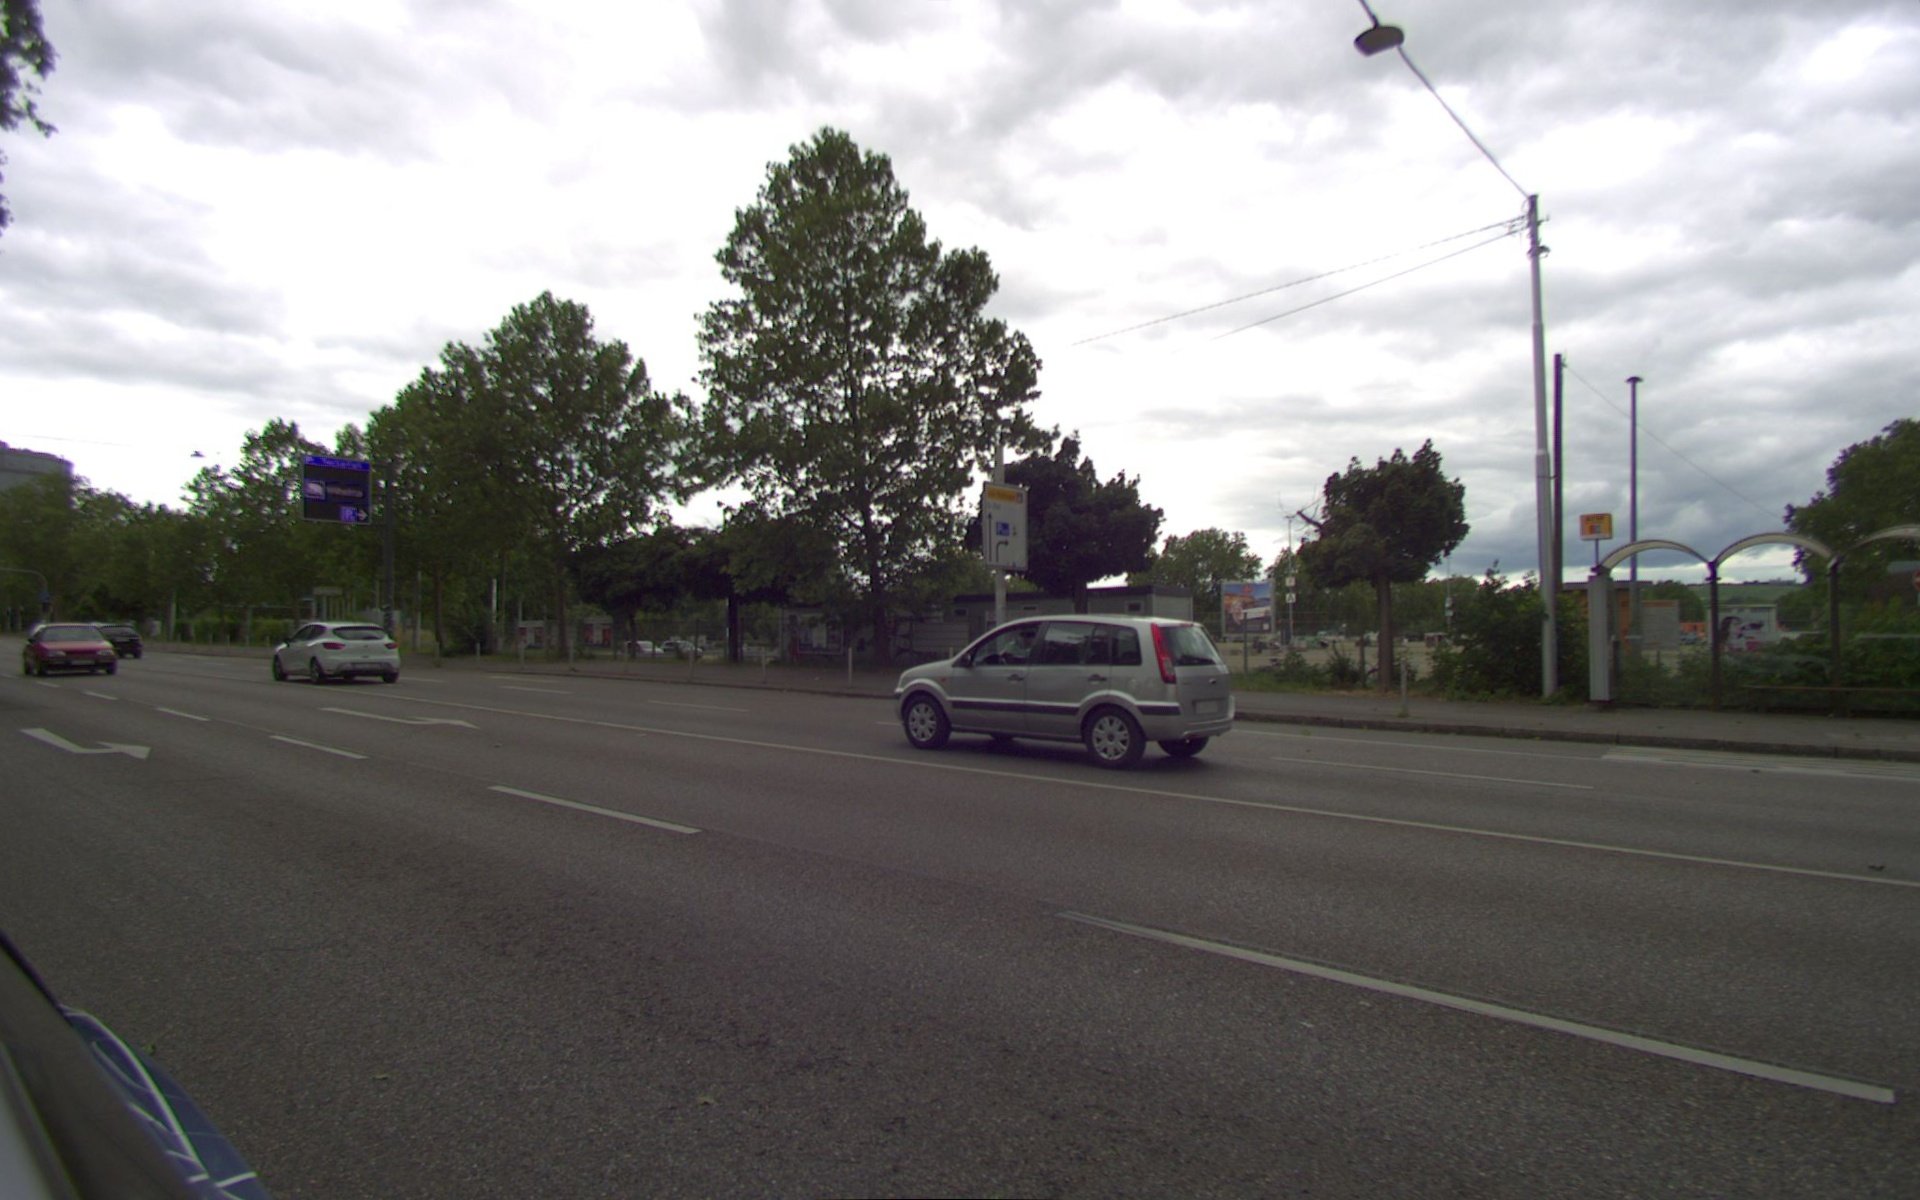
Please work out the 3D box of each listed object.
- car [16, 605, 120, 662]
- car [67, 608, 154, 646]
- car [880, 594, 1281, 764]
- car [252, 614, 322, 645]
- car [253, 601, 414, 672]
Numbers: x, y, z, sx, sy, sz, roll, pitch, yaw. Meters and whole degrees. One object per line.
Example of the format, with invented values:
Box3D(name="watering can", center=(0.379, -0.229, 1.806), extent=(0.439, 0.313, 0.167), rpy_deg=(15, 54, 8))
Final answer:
Box3D(name="car", center=(-24.753, 0.900, 28.033), extent=(4.077, 1.463, 1.808), rpy_deg=(-1, -1, 43))
Box3D(name="car", center=(-36.588, 1.180, 43.544), extent=(4.721, 1.542, 1.974), rpy_deg=(-1, -3, 39))
Box3D(name="car", center=(1.241, 0.764, 11.228), extent=(3.996, 1.537, 1.973), rpy_deg=(-1, -3, 40))
Box3D(name="car", center=(-44.433, 1.941, 66.759), extent=(4.627, 2.029, 2.365), rpy_deg=(-1, -3, 36))
Box3D(name="car", center=(-15.112, 0.871, 24.325), extent=(4.381, 1.542, 1.973), rpy_deg=(-1, -3, 40))
